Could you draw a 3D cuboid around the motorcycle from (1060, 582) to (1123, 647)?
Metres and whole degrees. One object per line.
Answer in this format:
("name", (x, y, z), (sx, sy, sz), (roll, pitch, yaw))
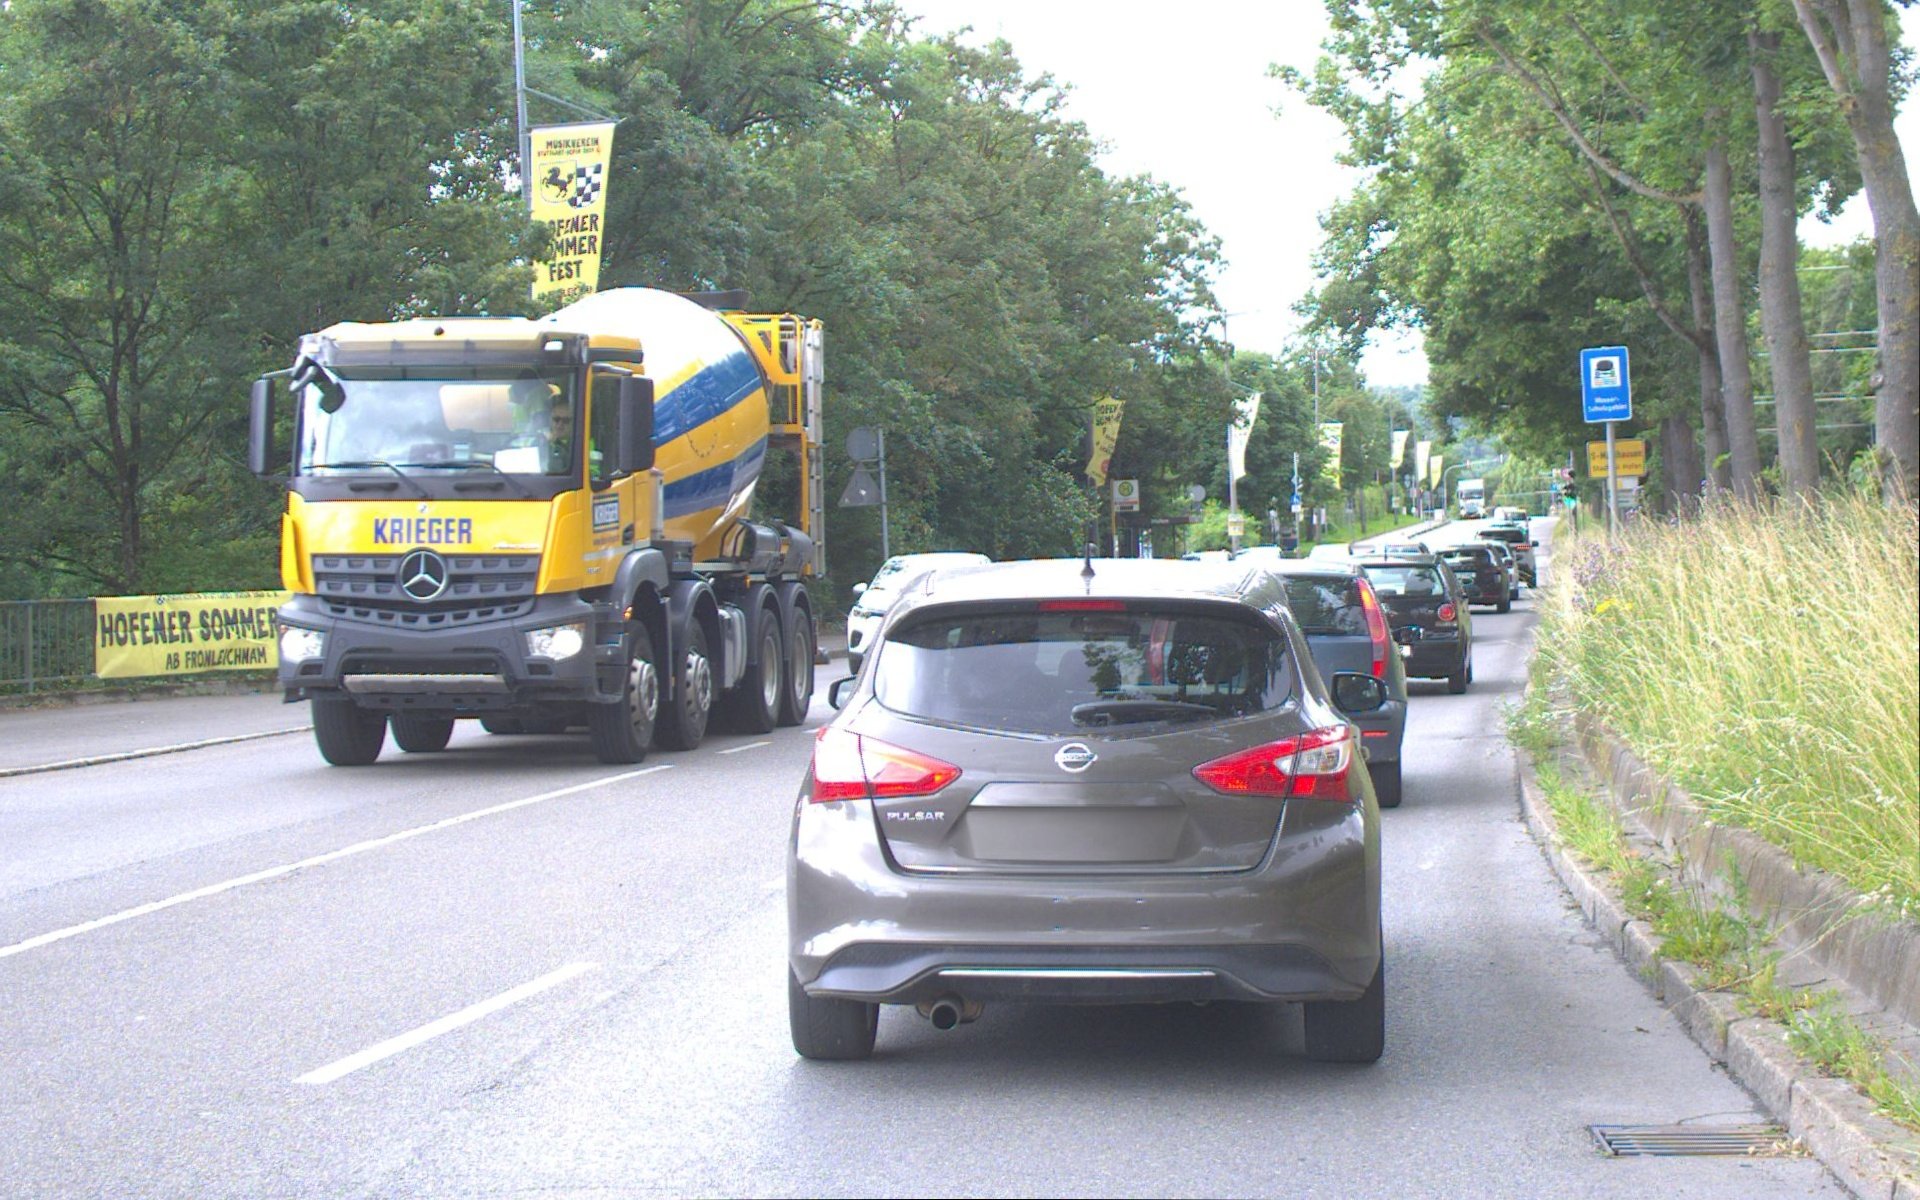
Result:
("motorcycle", (2.202, 0.229, 57.246), (0.745, 1.030, 1.887), (-1, 1, 11))

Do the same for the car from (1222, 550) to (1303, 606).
("car", (8.455, -0.628, 95.858), (1.818, 1.457, 3.998), (-2, 1, 11))

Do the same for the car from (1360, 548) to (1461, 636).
("car", (7.473, -0.139, 56.839), (1.501, 1.360, 3.586), (-2, 0, 9))

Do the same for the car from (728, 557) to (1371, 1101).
("car", (0.391, 0.641, 11.488), (1.775, 1.489, 3.999), (0, 0, 4))

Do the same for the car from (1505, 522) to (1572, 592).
("car", (17.403, -1.286, 103.247), (1.891, 2.007, 3.998), (-1, 1, 10))

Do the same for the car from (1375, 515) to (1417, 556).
("car", (19.982, -2.929, 157.609), (1.719, 1.687, 3.724), (-2, -1, 9))

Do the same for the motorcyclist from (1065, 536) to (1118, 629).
("motorcyclist", (2.189, -0.294, 57.263), (0.745, 1.533, 0.790), (-1, 1, 11))

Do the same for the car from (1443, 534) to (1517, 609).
("car", (12.934, -0.683, 85.418), (1.719, 1.687, 3.998), (-2, -1, 9))

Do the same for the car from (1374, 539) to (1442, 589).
("car", (14.428, -1.146, 110.527), (1.852, 1.481, 4.418), (-1, 0, 11))

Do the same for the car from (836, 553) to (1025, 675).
("car", (-0.330, 0.148, 44.154), (1.767, 1.474, 3.999), (-1, 1, 9))

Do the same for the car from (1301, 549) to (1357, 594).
("car", (13.153, -0.999, 122.411), (1.753, 1.415, 3.998), (-2, -1, 9))

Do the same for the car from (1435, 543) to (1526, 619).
("car", (10.862, -0.390, 71.579), (1.805, 1.535, 3.998), (0, 0, 10))

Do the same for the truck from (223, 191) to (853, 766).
("truck", (-3.077, -0.883, 28.664), (2.655, 3.925, 10.108), (0, 1, 8))

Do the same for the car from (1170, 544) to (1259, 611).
("car", (6.114, -0.520, 82.242), (1.722, 1.437, 3.998), (-2, -1, 10))

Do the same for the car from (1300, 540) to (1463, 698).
("car", (4.450, 0.190, 36.578), (1.578, 1.533, 3.999), (-2, 0, 6))

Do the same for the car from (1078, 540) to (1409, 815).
("car", (1.736, 0.464, 21.866), (1.893, 1.569, 3.999), (-1, 0, 3))
